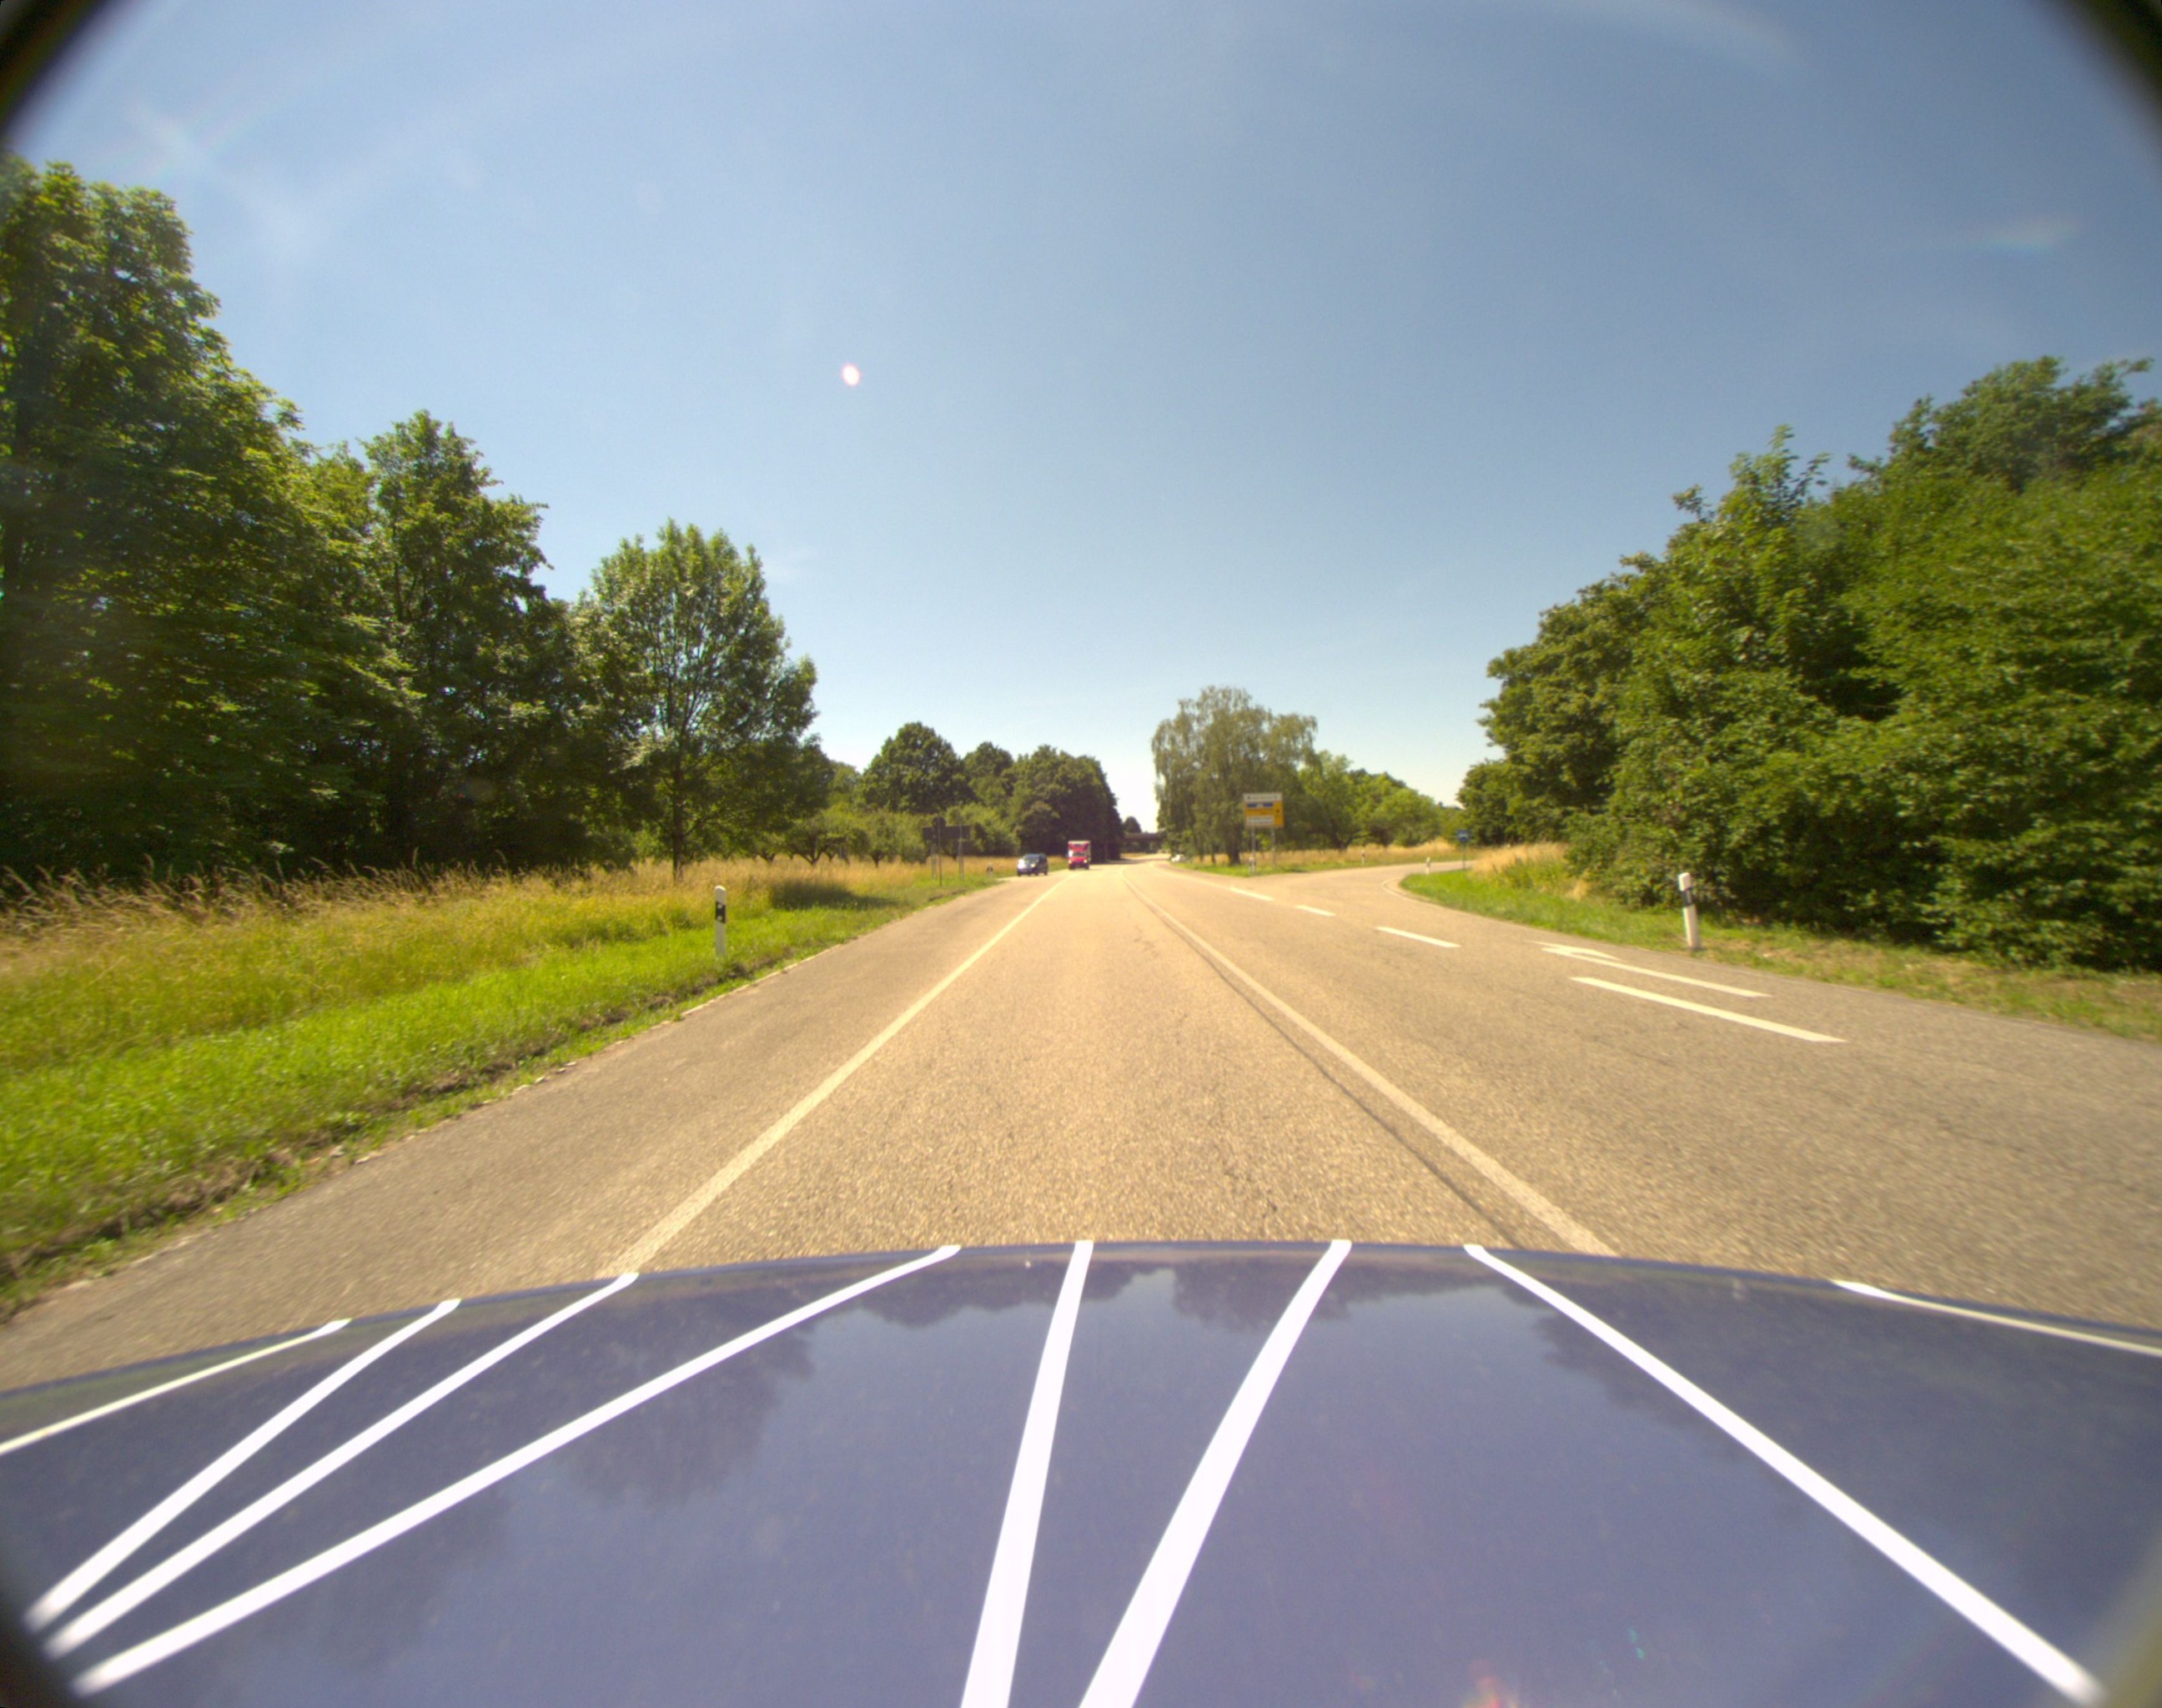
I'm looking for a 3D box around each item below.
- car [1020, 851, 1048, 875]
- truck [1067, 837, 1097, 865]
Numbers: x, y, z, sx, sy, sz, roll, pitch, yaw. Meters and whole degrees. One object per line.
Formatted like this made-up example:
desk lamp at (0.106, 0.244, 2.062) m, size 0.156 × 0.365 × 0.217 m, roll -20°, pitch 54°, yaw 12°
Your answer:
car at (-3.816, 0.691, 62.463) m, size 1.746 × 1.833 × 4.001 m, roll 1°, pitch 1°, yaw 5°
truck at (0.124, -0.394, 84.873) m, size 2.456 × 2.927 × 6.977 m, roll -1°, pitch 1°, yaw 7°
